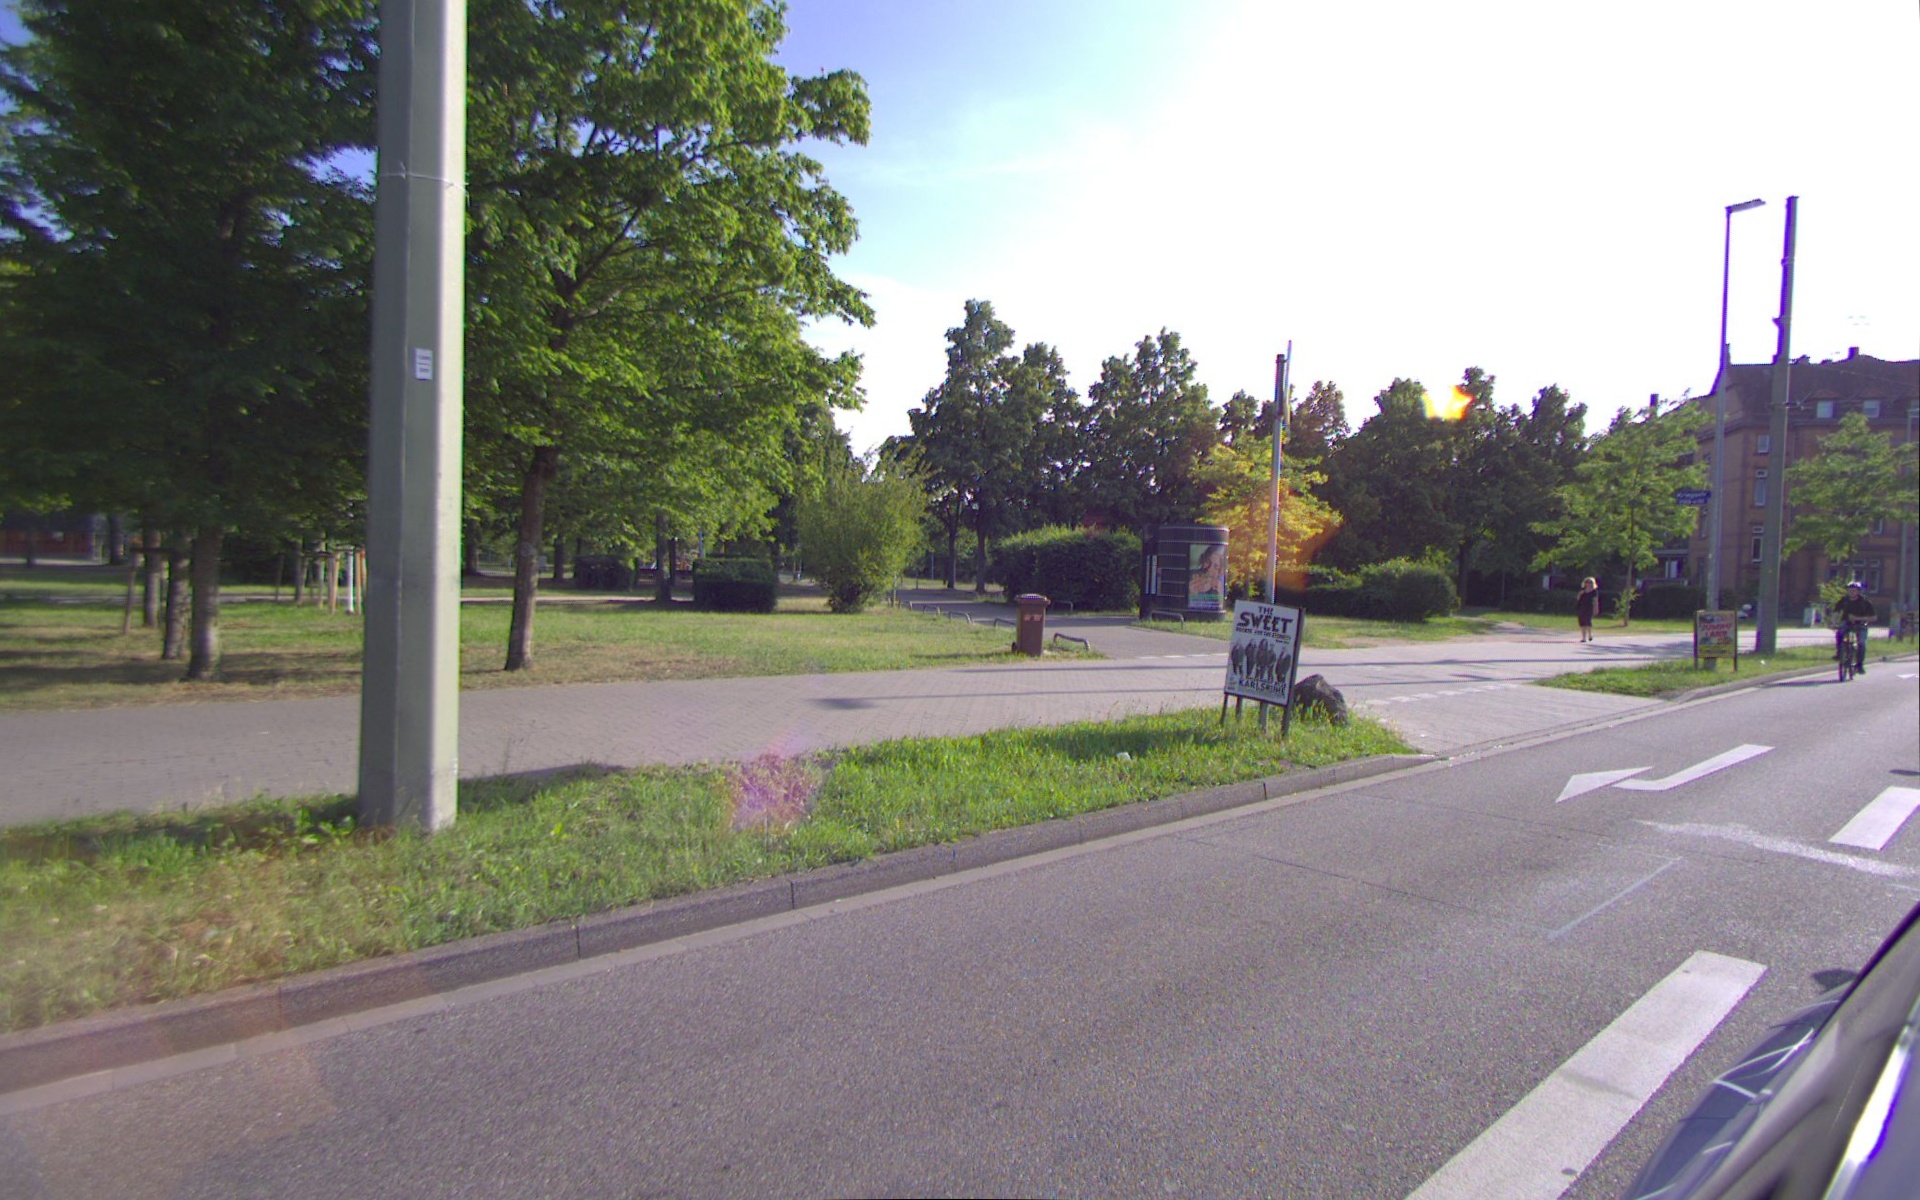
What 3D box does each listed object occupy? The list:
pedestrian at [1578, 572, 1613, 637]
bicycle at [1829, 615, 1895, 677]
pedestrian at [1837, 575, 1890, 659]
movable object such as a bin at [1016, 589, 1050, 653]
[{"bbox_3d":[16.967,0.113,27.027,0.607,1.706,0.621,1,0,-40],"label":"pedestrian"},{"bbox_3d":[16.902,0.826,18.947,1.945,1.059,0.651,-1,0,-40],"label":"bicycle"},{"bbox_3d":[16.971,0.302,19.007,0.830,1.540,0.636,0,0,-40],"label":"pedestrian"},{"bbox_3d":[1.104,0.309,15.431,0.447,0.929,0.605,2,2,1],"label":"movable object such as a bin"}]
